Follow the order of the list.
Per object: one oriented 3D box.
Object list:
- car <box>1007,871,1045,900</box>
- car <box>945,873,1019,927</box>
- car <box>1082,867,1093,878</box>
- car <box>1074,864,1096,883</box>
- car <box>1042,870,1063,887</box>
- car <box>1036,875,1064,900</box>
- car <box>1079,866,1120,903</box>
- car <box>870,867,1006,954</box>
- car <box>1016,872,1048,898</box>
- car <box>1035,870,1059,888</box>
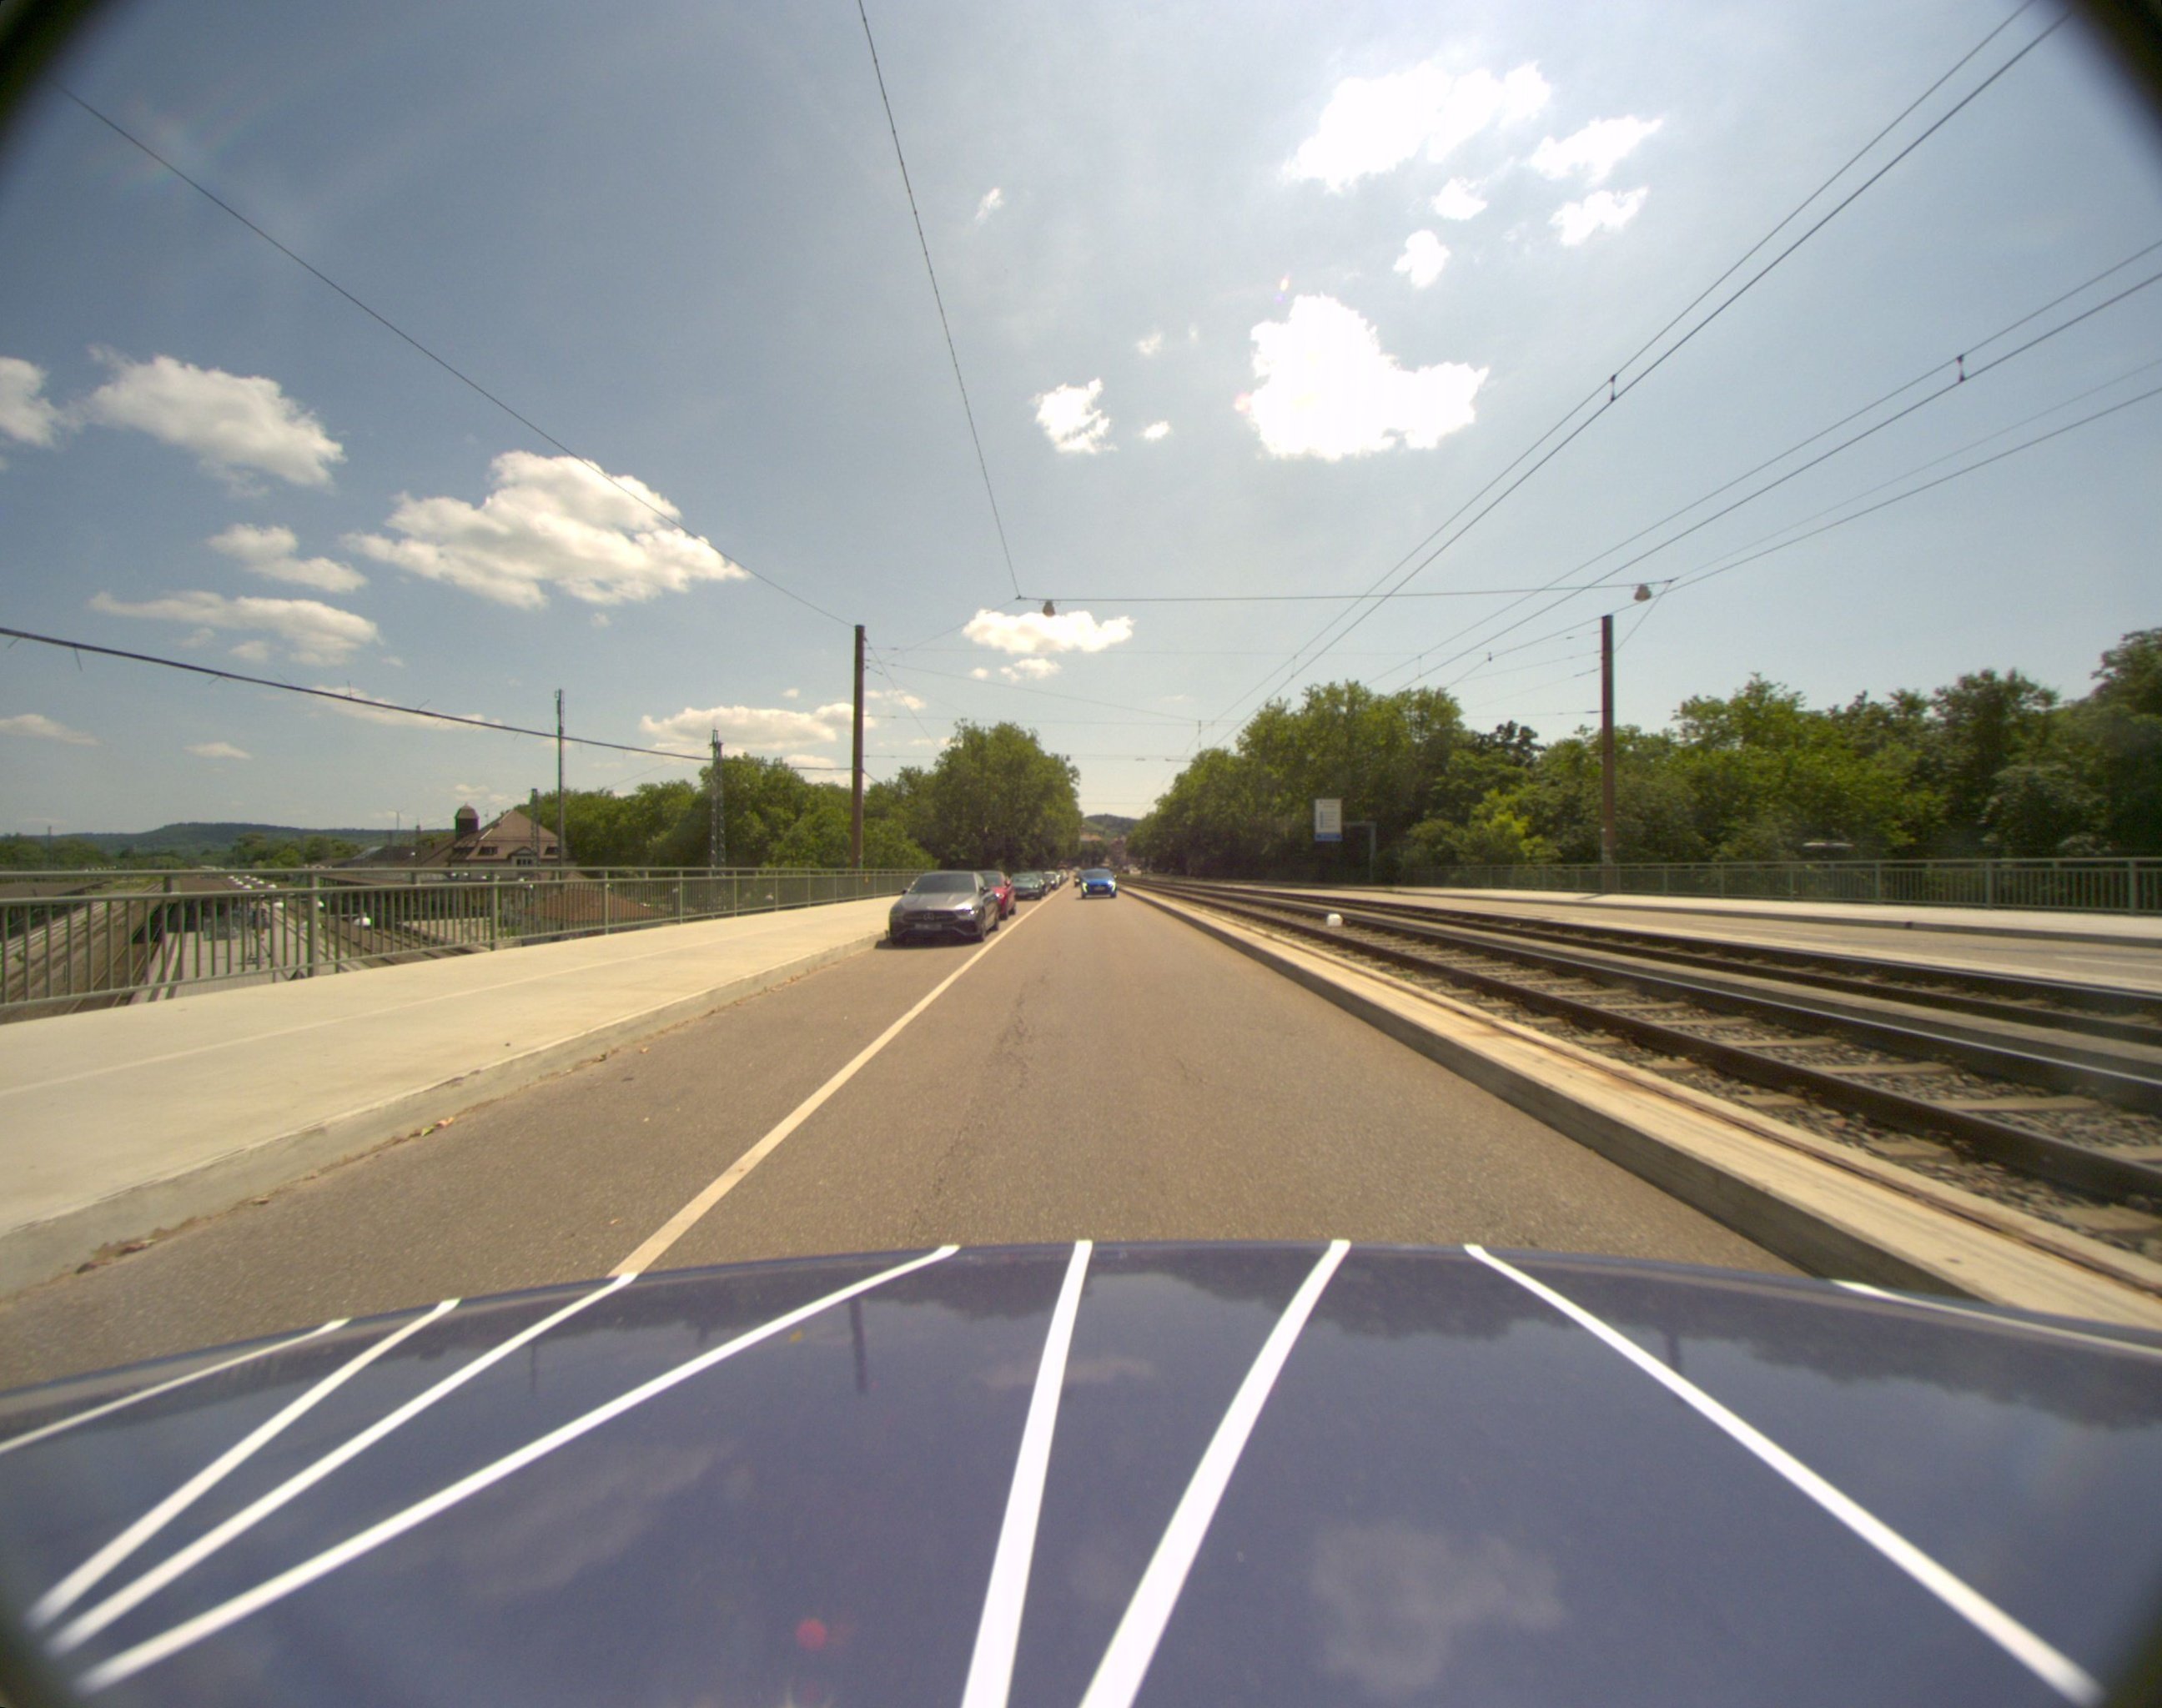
[{"bbox_3d":[-2.777,1.588,39.009,1.689,1.350,4.593,-2,-1,-2],"label":"car"},{"bbox_3d":[-2.923,1.332,23.323,1.651,1.451,4.286,-2,-1,0],"label":"car"},{"bbox_3d":[1.204,3.575,146.647,1.998,2.001,4.001,-2,0,2],"label":"car"},{"bbox_3d":[0.420,1.874,72.509,1.797,1.726,3.769,-3,-1,3],"label":"car"},{"bbox_3d":[-2.500,2.117,67.006,1.683,1.423,4.160,-1,-1,0],"label":"car"},{"bbox_3d":[-2.239,2.421,55.686,1.830,1.549,4.158,-4,0,-2],"label":"car"},{"bbox_3d":[0.896,1.428,37.184,1.865,1.630,4.000,-2,-1,1],"label":"car"},{"bbox_3d":[-2.893,1.106,16.490,1.998,1.542,4.722,-2,-1,0],"label":"car"},{"bbox_3d":[-2.888,1.806,45.665,1.639,1.444,4.388,-2,-1,0],"label":"car"},{"bbox_3d":[-2.695,2.001,61.265,1.759,1.381,3.700,-1,-1,0],"label":"car"}]
